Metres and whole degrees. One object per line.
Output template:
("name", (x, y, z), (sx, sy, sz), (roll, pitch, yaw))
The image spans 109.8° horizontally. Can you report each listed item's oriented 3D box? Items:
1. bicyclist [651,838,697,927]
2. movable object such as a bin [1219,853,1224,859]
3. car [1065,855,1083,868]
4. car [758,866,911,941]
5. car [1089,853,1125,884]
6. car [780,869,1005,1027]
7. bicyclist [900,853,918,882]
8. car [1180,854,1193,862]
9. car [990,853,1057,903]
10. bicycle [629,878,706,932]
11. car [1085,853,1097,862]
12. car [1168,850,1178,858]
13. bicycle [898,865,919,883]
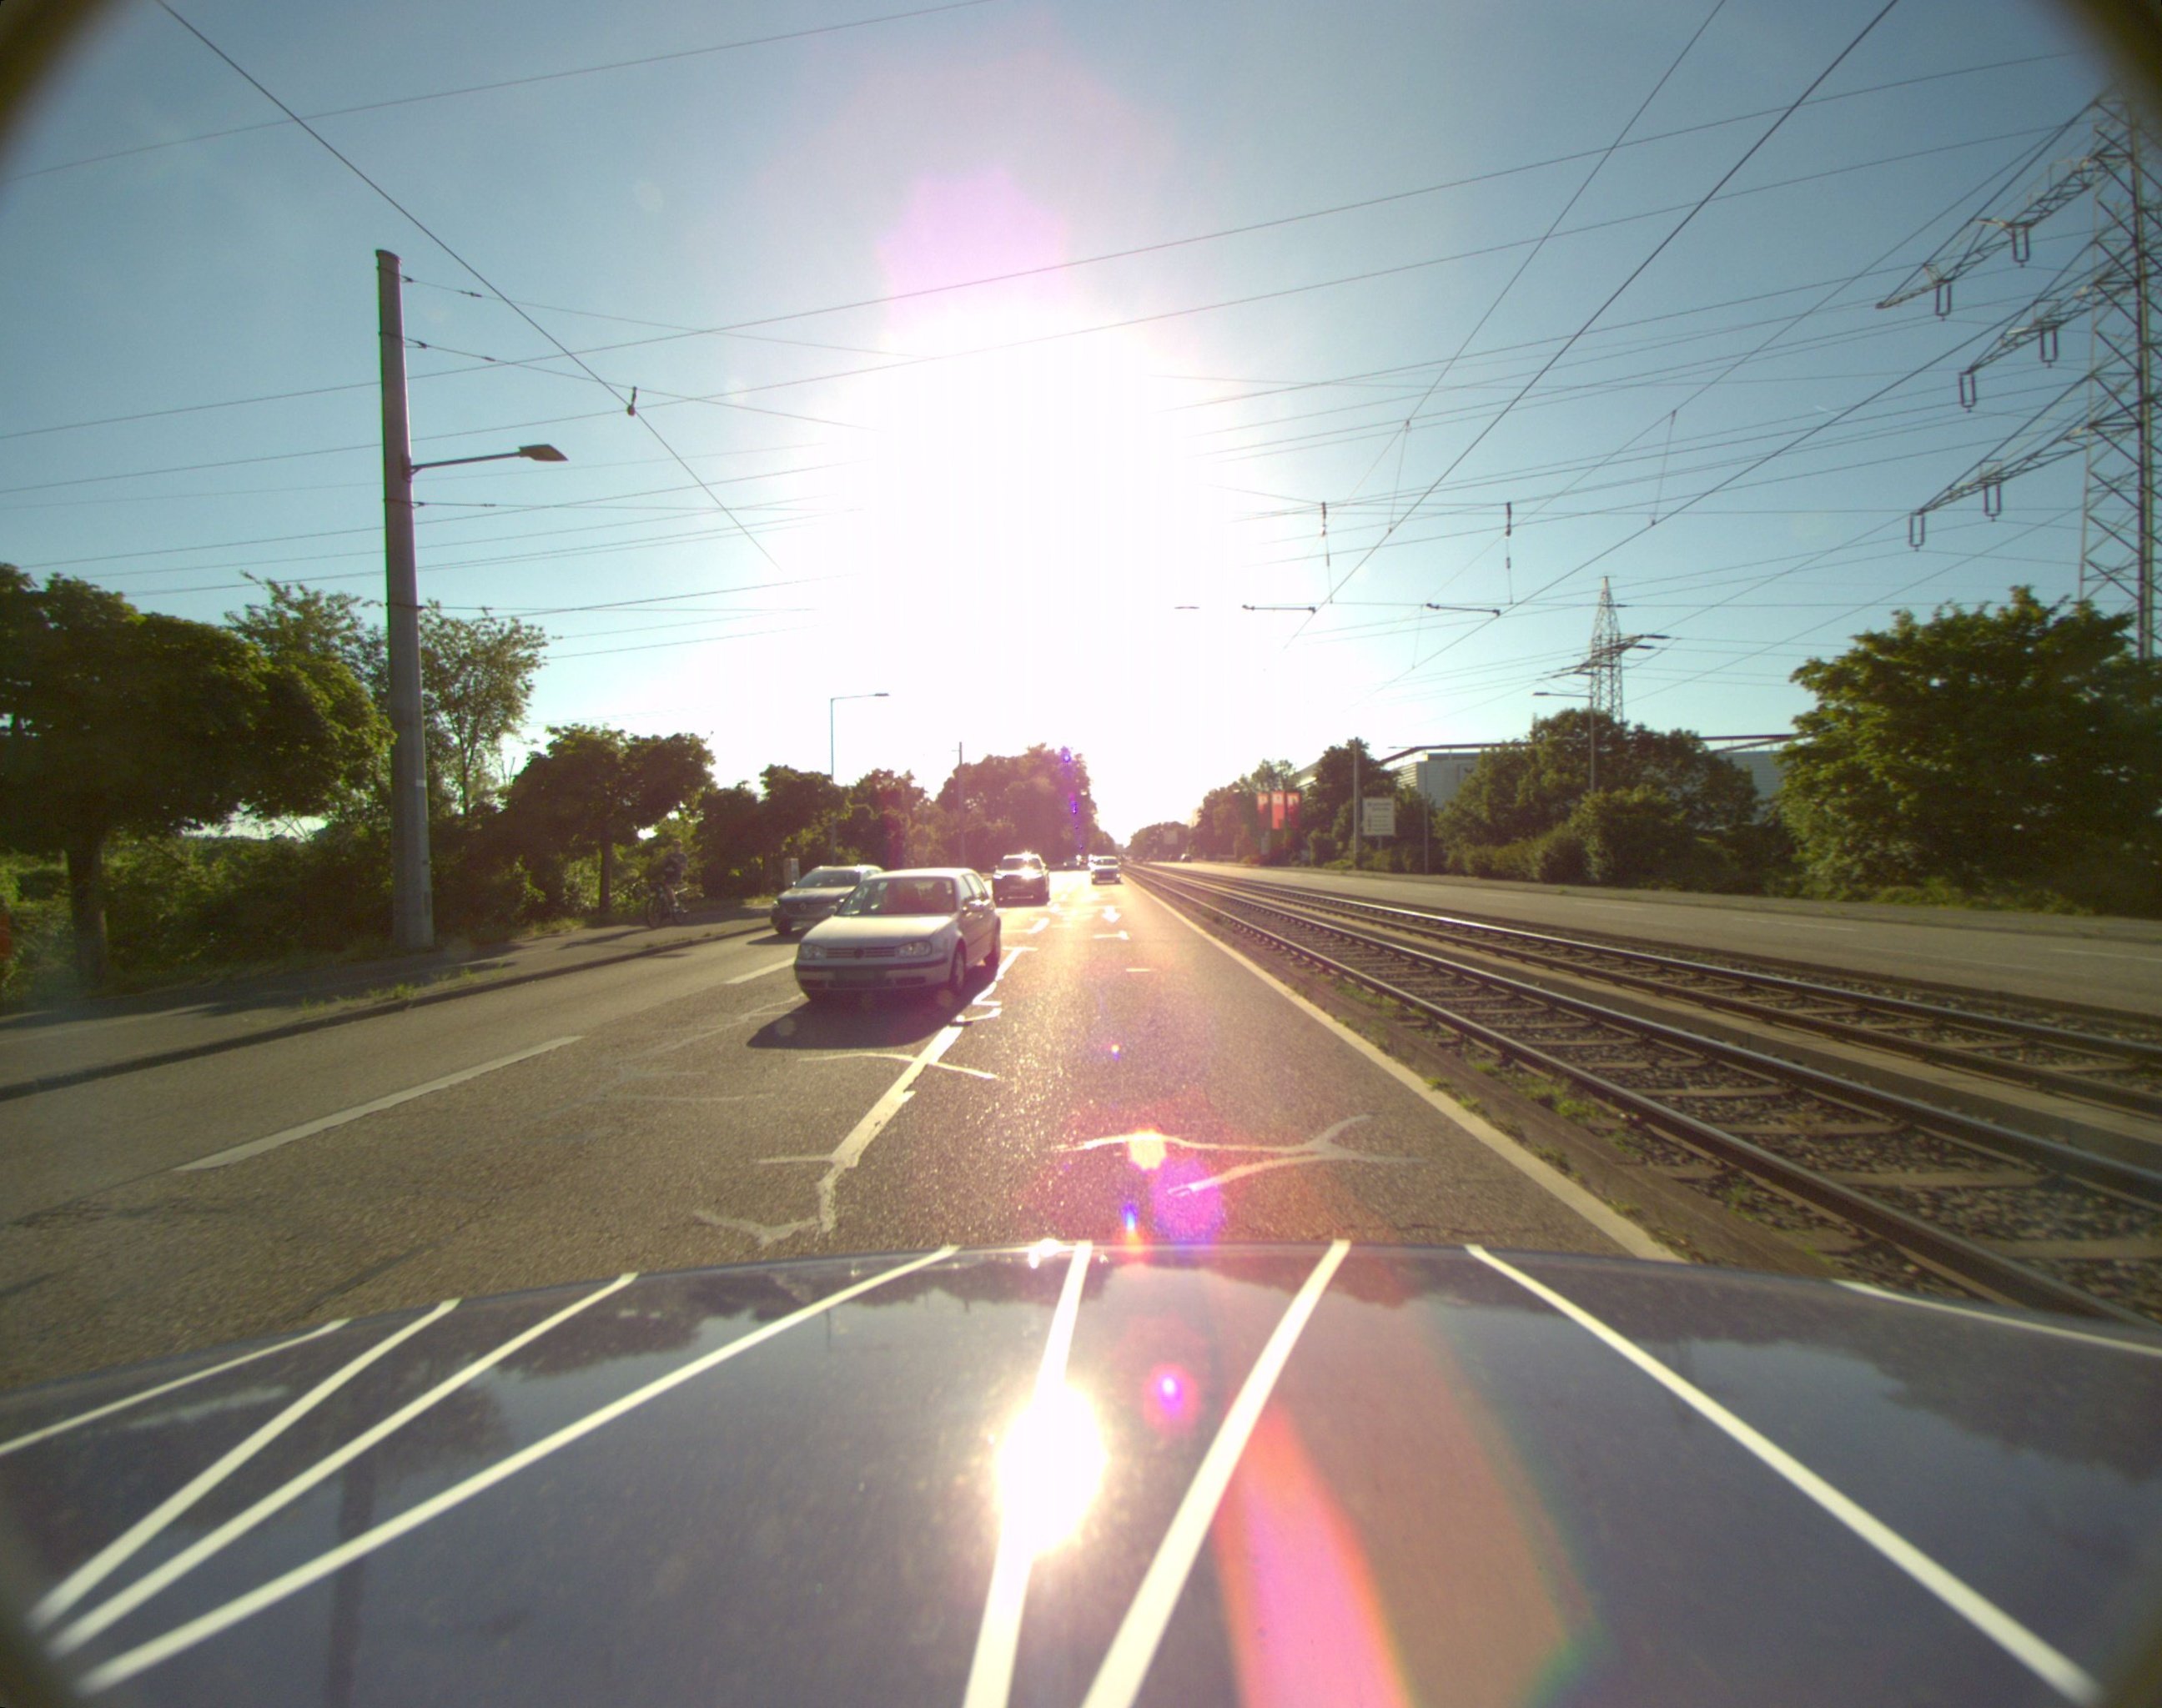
("bicyclist", (-9.359, 0.639, 17.490), (0.528, 2.005, 0.729), (-3, 1, 3))
("movable object such as a bin", (23.741, 0.291, 128.271), (0.613, 0.960, 1.084), (-3, 1, 5))
("car", (-0.763, 0.875, 89.774), (1.881, 1.449, 4.417), (-1, 1, 3))
("car", (-5.731, 1.082, 18.368), (1.881, 1.435, 4.660), (-1, 1, 4))
("car", (1.506, 0.761, 43.172), (1.881, 1.591, 4.417), (-1, 1, 3))
("car", (-2.104, 0.992, 9.670), (1.695, 1.437, 4.001), (-1, 1, 2))
("bicyclist", (-8.866, 0.680, 39.214), (0.628, 1.463, 1.060), (3, 1, 2))
("car", (20.852, 0.779, 150.493), (1.998, 1.616, 4.683), (0, 1, 0))
("car", (-1.992, 0.822, 27.777), (1.881, 1.591, 4.417), (-1, 1, 3))
("bicycle", (-9.351, 1.129, 17.273), (0.528, 1.054, 1.971), (-3, 1, 3))
("car", (1.879, 0.673, 143.354), (1.880, 1.449, 4.418), (-1, 1, 5))
("car", (22.386, -0.069, 184.355), (1.998, 1.785, 4.350), (0, 1, 2))
("bicycle", (-8.893, 1.006, 39.158), (0.628, 0.829, 1.635), (3, 1, 2))
